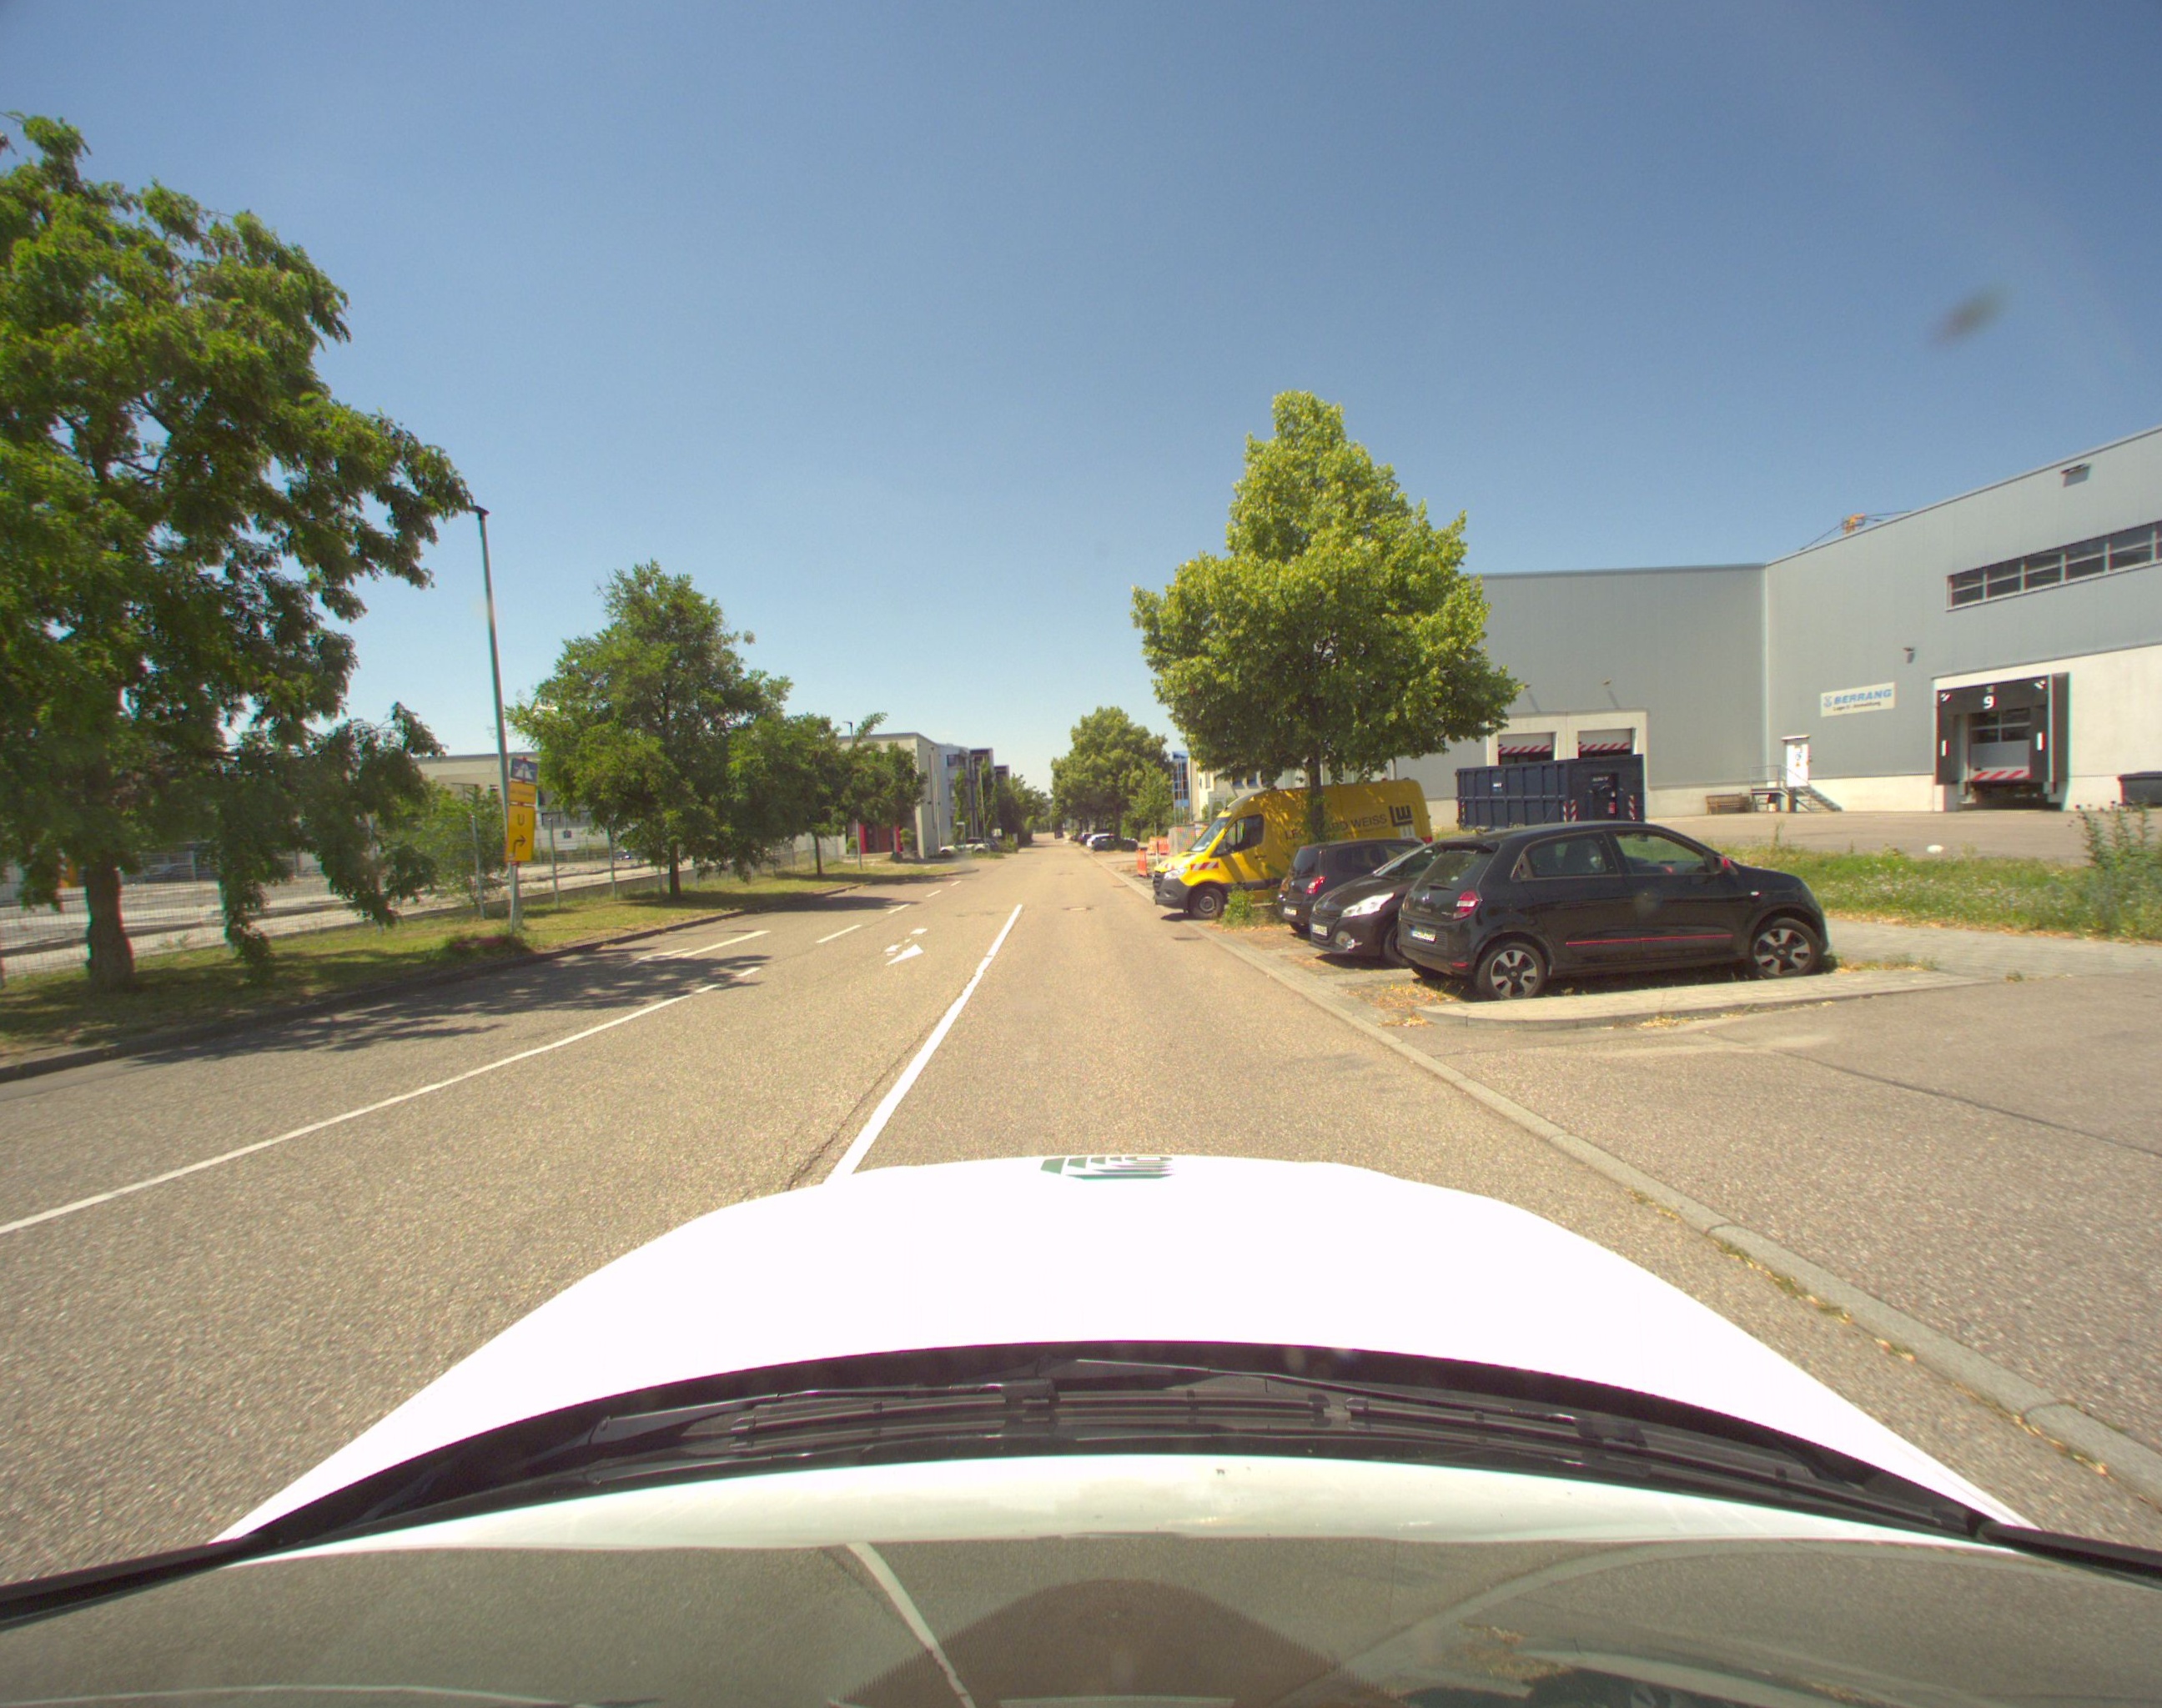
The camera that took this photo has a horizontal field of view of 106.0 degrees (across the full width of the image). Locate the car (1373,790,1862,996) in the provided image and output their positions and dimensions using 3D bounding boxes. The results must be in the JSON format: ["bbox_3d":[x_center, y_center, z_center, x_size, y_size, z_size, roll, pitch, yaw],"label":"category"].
[{"bbox_3d":[5.005,0.321,7.935,3.651,1.462,1.626,-5,1,-2],"label":"car"}]

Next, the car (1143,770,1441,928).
[{"bbox_3d":[4.425,-0.155,17.611,5.768,2.732,1.998,-5,2,-4],"label":"car"}]

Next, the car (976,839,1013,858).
[{"bbox_3d":[-7.335,-0.461,68.838,3.057,1.478,1.289,-3,1,-9],"label":"car"}]

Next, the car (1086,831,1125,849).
[{"bbox_3d":[2.396,-1.363,79.513,3.513,1.354,1.535,-6,1,-7],"label":"car"}]

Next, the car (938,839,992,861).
[{"bbox_3d":[-9.119,-0.320,64.172,4.039,1.494,1.726,-3,1,-5],"label":"car"}]

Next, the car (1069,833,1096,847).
[{"bbox_3d":[0.203,-2.228,129.165,3.931,1.834,1.762,-3,5,-10],"label":"car"}]

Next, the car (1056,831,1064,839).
[{"bbox_3d":[-4.700,-4.201,180.535,1.756,1.755,3.943,-3,1,-1],"label":"car"}]

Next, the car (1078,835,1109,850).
[{"bbox_3d":[1.586,-1.455,101.927,3.713,1.626,1.813,-3,1,-2],"label":"car"}]

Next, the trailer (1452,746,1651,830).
[{"bbox_3d":[15.847,-2.299,28.209,2.650,2.419,7.417,-2,5,0],"label":"trailer"}]

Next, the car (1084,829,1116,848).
[{"bbox_3d":[2.256,-1.848,98.468,3.713,2.110,1.813,-3,1,-2],"label":"car"}]

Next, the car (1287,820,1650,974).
[{"bbox_3d":[4.709,0.473,10.188,3.763,1.507,1.588,-4,1,-4],"label":"car"}]

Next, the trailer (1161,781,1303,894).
[{"bbox_3d":[4.401,-0.504,24.959,2.653,2.856,5.510,-5,1,-5],"label":"trailer"}]

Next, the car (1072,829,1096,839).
[{"bbox_3d":[0.465,-3.499,141.550,3.931,1.577,1.762,-3,5,-10],"label":"car"}]

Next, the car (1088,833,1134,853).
[{"bbox_3d":[2.576,-0.971,69.810,3.675,1.354,1.642,-6,1,-7],"label":"car"}]

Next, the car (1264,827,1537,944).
[{"bbox_3d":[4.896,0.439,12.777,3.595,1.478,1.626,-4,1,-4],"label":"car"}]
